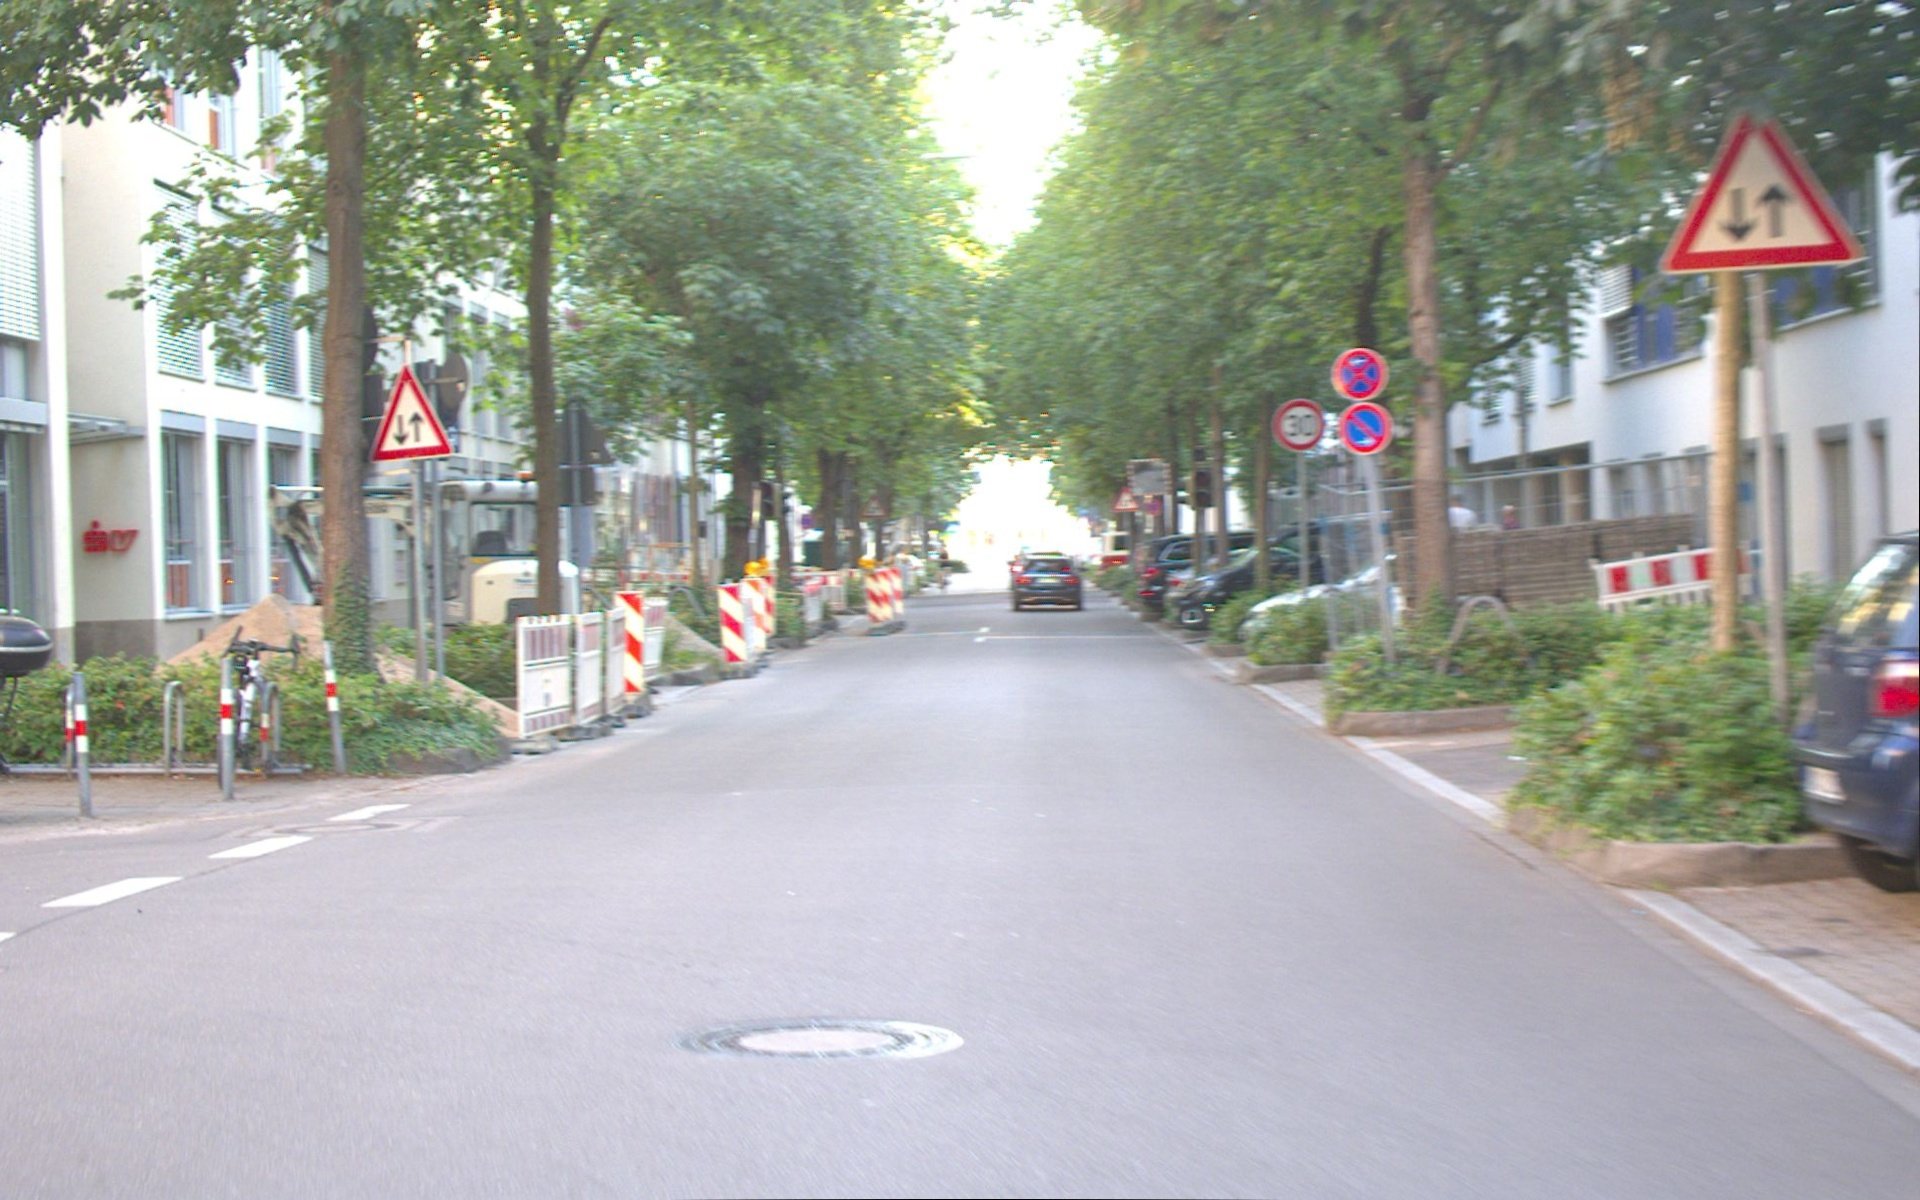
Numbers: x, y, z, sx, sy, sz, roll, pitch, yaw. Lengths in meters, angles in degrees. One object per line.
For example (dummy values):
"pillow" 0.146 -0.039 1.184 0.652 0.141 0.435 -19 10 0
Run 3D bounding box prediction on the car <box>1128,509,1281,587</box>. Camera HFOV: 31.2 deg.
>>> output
"car" 6.640 -1.429 93.764 3.987 2.007 2.000 -1 1 0

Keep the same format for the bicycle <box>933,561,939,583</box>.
"bicycle" -0.869 -1.012 124.451 0.227 0.758 1.102 -1 1 -1

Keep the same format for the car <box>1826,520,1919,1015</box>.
"car" 5.051 0.469 10.447 4.278 1.503 1.872 -1 1 -7

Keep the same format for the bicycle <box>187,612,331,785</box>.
"bicycle" -4.963 0.678 24.431 0.601 1.114 1.800 -1 2 1

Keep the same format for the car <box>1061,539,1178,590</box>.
"car" 6.876 -1.547 148.552 4.972 2.080 1.738 -1 1 1

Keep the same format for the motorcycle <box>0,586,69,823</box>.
"motorcycle" -6.685 0.660 20.783 2.372 1.436 0.801 -2 1 -39

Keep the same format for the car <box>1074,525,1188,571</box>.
"car" 6.291 -1.921 126.814 3.986 1.592 2.000 -1 1 -2

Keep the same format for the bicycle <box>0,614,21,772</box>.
"bicycle" -7.191 0.693 24.217 0.601 1.114 1.800 -1 2 1

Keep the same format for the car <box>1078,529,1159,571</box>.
"car" 7.871 -2.494 170.689 3.987 2.007 2.000 -1 1 3

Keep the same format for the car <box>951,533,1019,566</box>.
"car" 1.540 -3.118 212.530 3.986 1.908 1.778 -1 1 -7

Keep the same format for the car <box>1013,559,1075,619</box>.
"car" 2.088 -0.280 85.895 1.500 1.411 3.713 -1 1 1

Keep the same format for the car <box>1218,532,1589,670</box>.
"car" 5.464 0.000 42.730 4.437 1.586 1.629 -1 1 3

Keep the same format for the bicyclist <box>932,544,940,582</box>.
"bicyclist" -0.873 -1.333 124.391 0.278 1.386 0.435 -1 1 -1

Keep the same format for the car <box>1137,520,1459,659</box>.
"car" 5.366 -0.176 55.003 4.972 2.080 1.738 -1 1 1

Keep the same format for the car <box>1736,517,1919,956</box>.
"car" 4.816 0.387 12.950 3.351 1.520 1.746 -3 1 2

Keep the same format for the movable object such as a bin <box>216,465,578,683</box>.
"movable object such as a bin" -6.345 -0.308 39.166 3.665 2.325 2.583 -1 1 -1
